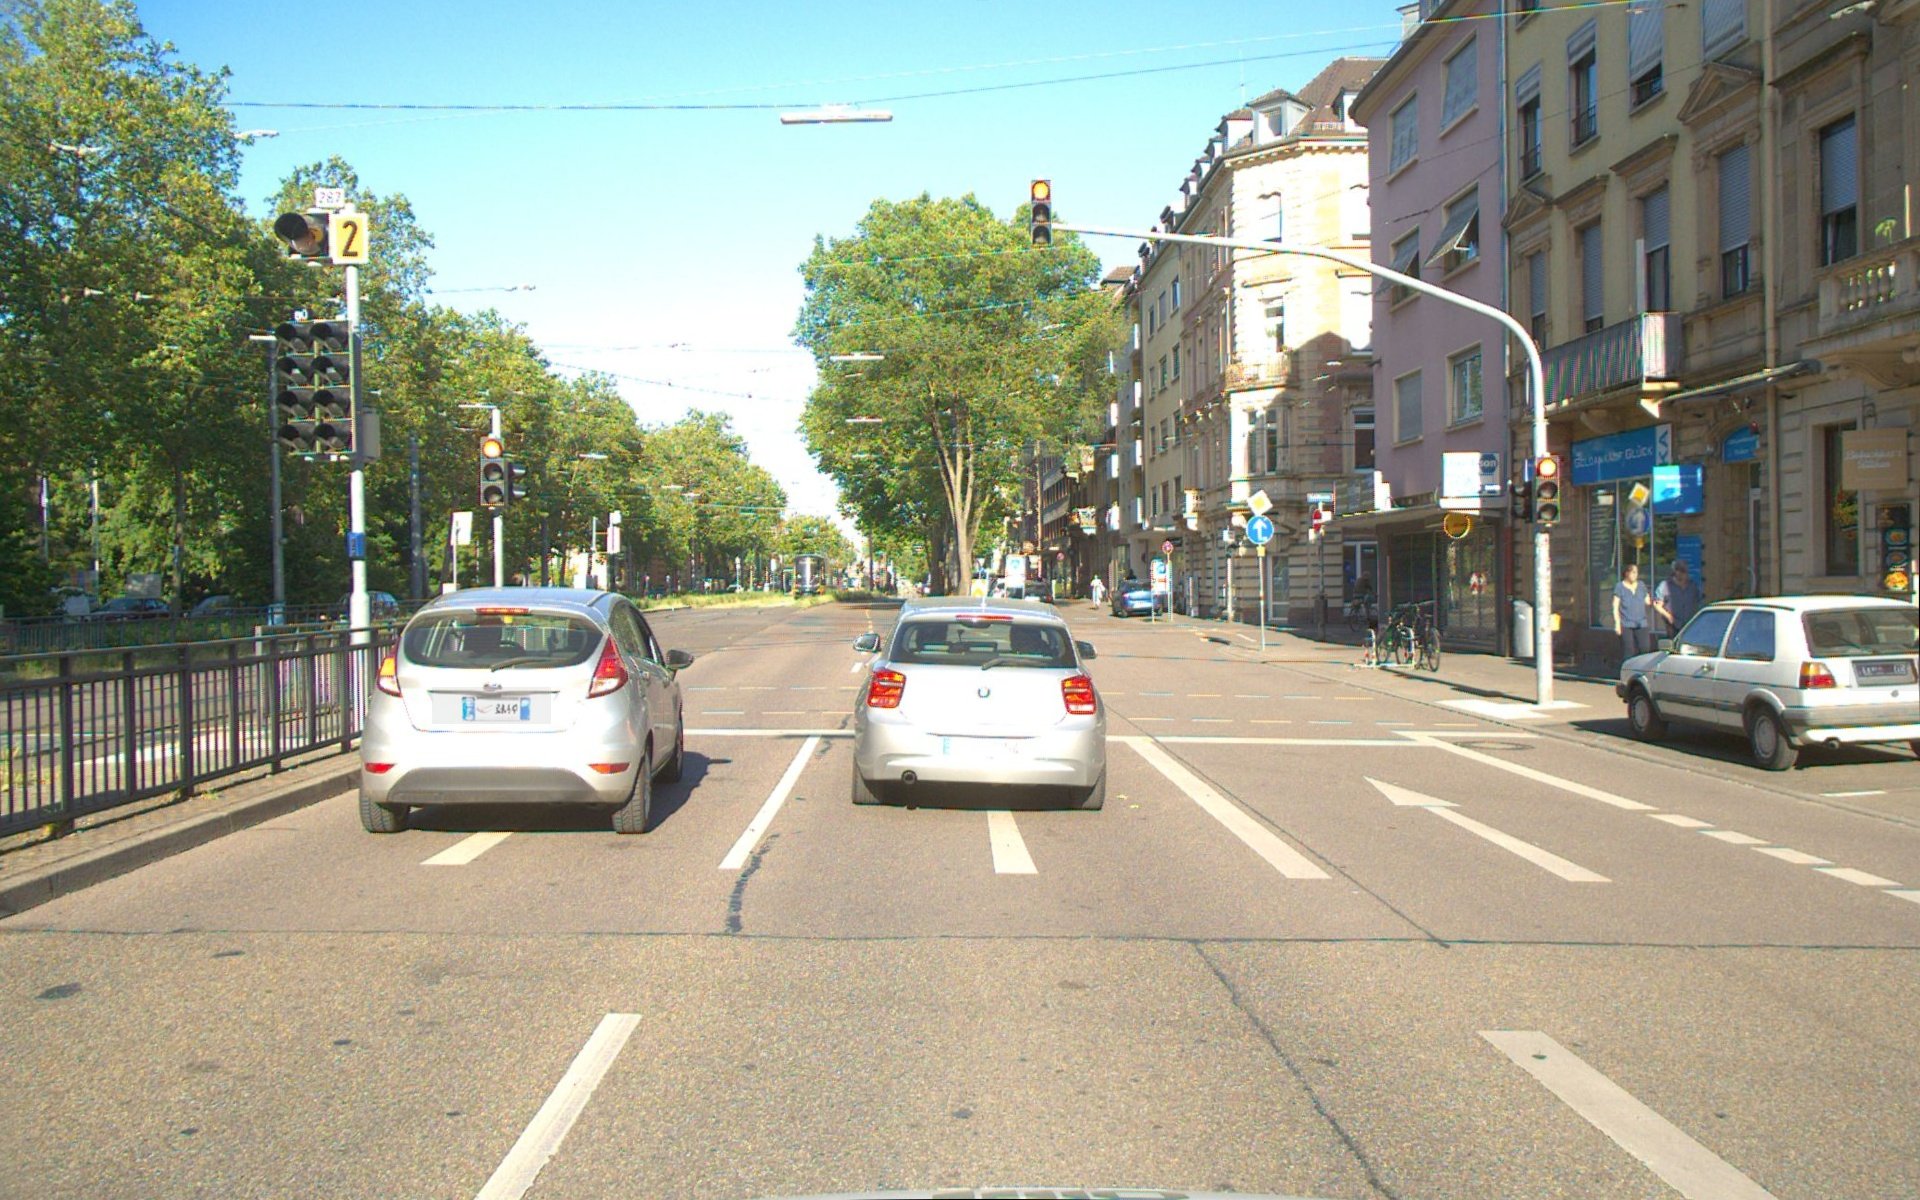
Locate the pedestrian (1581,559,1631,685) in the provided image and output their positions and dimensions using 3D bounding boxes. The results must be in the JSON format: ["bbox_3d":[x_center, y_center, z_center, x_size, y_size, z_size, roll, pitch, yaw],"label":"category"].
[{"bbox_3d":[8.994,0.300,23.039,0.538,1.738,0.388,-1,0,2],"label":"pedestrian"}]

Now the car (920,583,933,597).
[{"bbox_3d":[-5.222,-1.570,260.430,1.953,2.049,4.000,-1,1,-1],"label":"car"}]

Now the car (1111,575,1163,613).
[{"bbox_3d":[7.373,-0.261,69.085,1.700,1.546,3.635,1,1,-2],"label":"car"}]

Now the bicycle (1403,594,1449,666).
[{"bbox_3d":[8.035,0.504,28.551,0.439,1.179,1.759,0,1,5],"label":"bicycle"}]

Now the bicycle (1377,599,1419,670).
[{"bbox_3d":[7.546,0.570,28.548,0.405,1.160,1.811,0,1,6],"label":"bicycle"}]

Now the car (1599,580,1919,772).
[{"bbox_3d":[7.557,0.594,15.405,1.531,1.440,4.003,-4,1,-1],"label":"car"}]

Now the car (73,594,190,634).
[{"bbox_3d":[-29.433,0.493,58.922,1.897,1.372,4.847,0,0,-2],"label":"car"}]

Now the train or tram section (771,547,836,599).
[{"bbox_3d":[-12.622,-2.195,135.434,3.888,3.933,17.486,0,1,-1],"label":"train or tram section"}]

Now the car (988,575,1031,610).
[{"bbox_3d":[2.205,-0.357,74.613,1.690,1.533,3.554,1,1,-2],"label":"car"}]

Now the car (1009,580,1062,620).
[{"bbox_3d":[2.872,-0.005,63.313,1.701,1.458,3.676,1,1,-2],"label":"car"}]

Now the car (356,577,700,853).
[{"bbox_3d":[-2.680,0.604,11.061,1.578,1.493,3.886,-1,1,-5],"label":"car"}]

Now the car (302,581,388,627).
[{"bbox_3d":[-21.596,0.100,58.255,1.650,1.525,4.340,-1,1,-4],"label":"car"}]

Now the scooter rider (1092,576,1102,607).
[{"bbox_3d":[6.808,-0.410,82.014,0.455,1.531,0.811,0,0,7],"label":"scooter rider"}]

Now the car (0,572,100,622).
[{"bbox_3d":[-29.399,-0.105,53.014,1.636,1.536,4.143,0,1,-2],"label":"car"}]

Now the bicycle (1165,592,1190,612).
[{"bbox_3d":[9.135,0.077,69.510,0.739,0.784,1.944,0,1,-2],"label":"bicycle"}]

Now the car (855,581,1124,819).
[{"bbox_3d":[0.160,0.622,12.612,1.705,1.493,3.999,1,1,-1],"label":"car"}]

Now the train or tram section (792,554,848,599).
[{"bbox_3d":[-12.798,-2.199,153.000,3.924,3.933,17.486,0,1,-1],"label":"train or tram section"}]

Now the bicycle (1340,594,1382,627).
[{"bbox_3d":[11.445,0.299,47.146,0.642,0.919,1.331,0,1,41],"label":"bicycle"}]

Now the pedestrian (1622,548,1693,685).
[{"bbox_3d":[9.629,0.218,22.838,0.659,1.837,0.530,-3,1,-1],"label":"pedestrian"}]

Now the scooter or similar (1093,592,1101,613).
[{"bbox_3d":[6.807,0.111,82.079,0.330,1.005,1.285,0,1,7],"label":"scooter or similar"}]

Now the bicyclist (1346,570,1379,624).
[{"bbox_3d":[11.495,-0.089,47.174,0.538,1.528,0.956,0,1,40],"label":"bicyclist"}]
